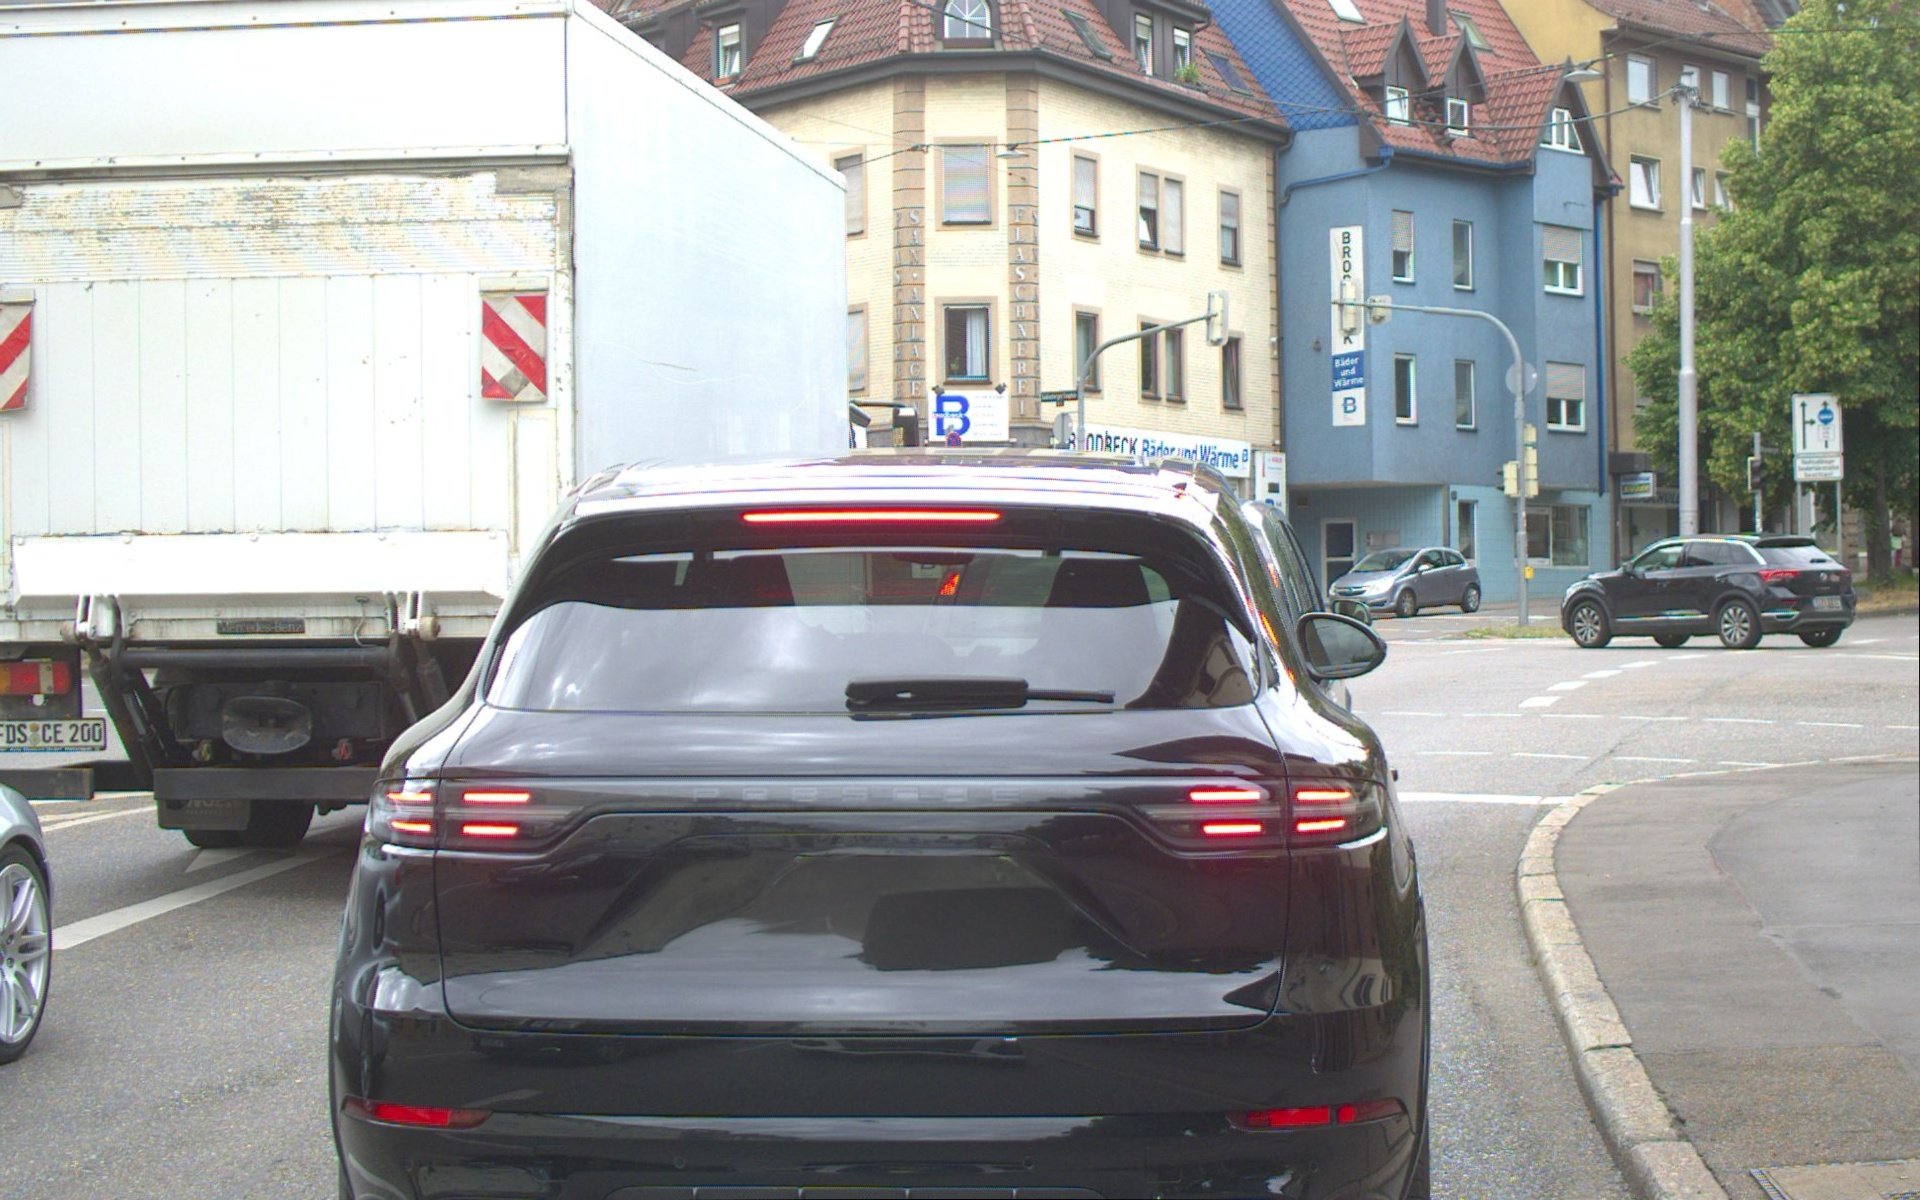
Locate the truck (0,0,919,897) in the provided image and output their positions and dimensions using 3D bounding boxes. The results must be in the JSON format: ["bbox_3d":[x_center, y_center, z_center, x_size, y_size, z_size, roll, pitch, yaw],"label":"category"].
[{"bbox_3d":[-2.215,-0.711,17.334,2.726,3.532,8.419,-1,1,8],"label":"truck"}]

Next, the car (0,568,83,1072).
[{"bbox_3d":[-3.515,0.642,8.028,1.629,1.360,4.128,-1,1,4],"label":"car"}]

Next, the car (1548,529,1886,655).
[{"bbox_3d":[9.973,-0.126,45.511,1.994,1.525,3.999,0,2,-38],"label":"car"}]

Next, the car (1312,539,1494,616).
[{"bbox_3d":[9.194,-0.441,71.141,1.720,1.471,4.208,0,-1,40],"label":"car"}]

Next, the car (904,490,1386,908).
[{"bbox_3d":[0.910,0.353,14.790,1.649,1.550,3.581,1,1,10],"label":"car"}]

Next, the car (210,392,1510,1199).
[{"bbox_3d":[-0.185,0.514,7.668,2.031,1.717,4.500,1,1,-1],"label":"car"}]
